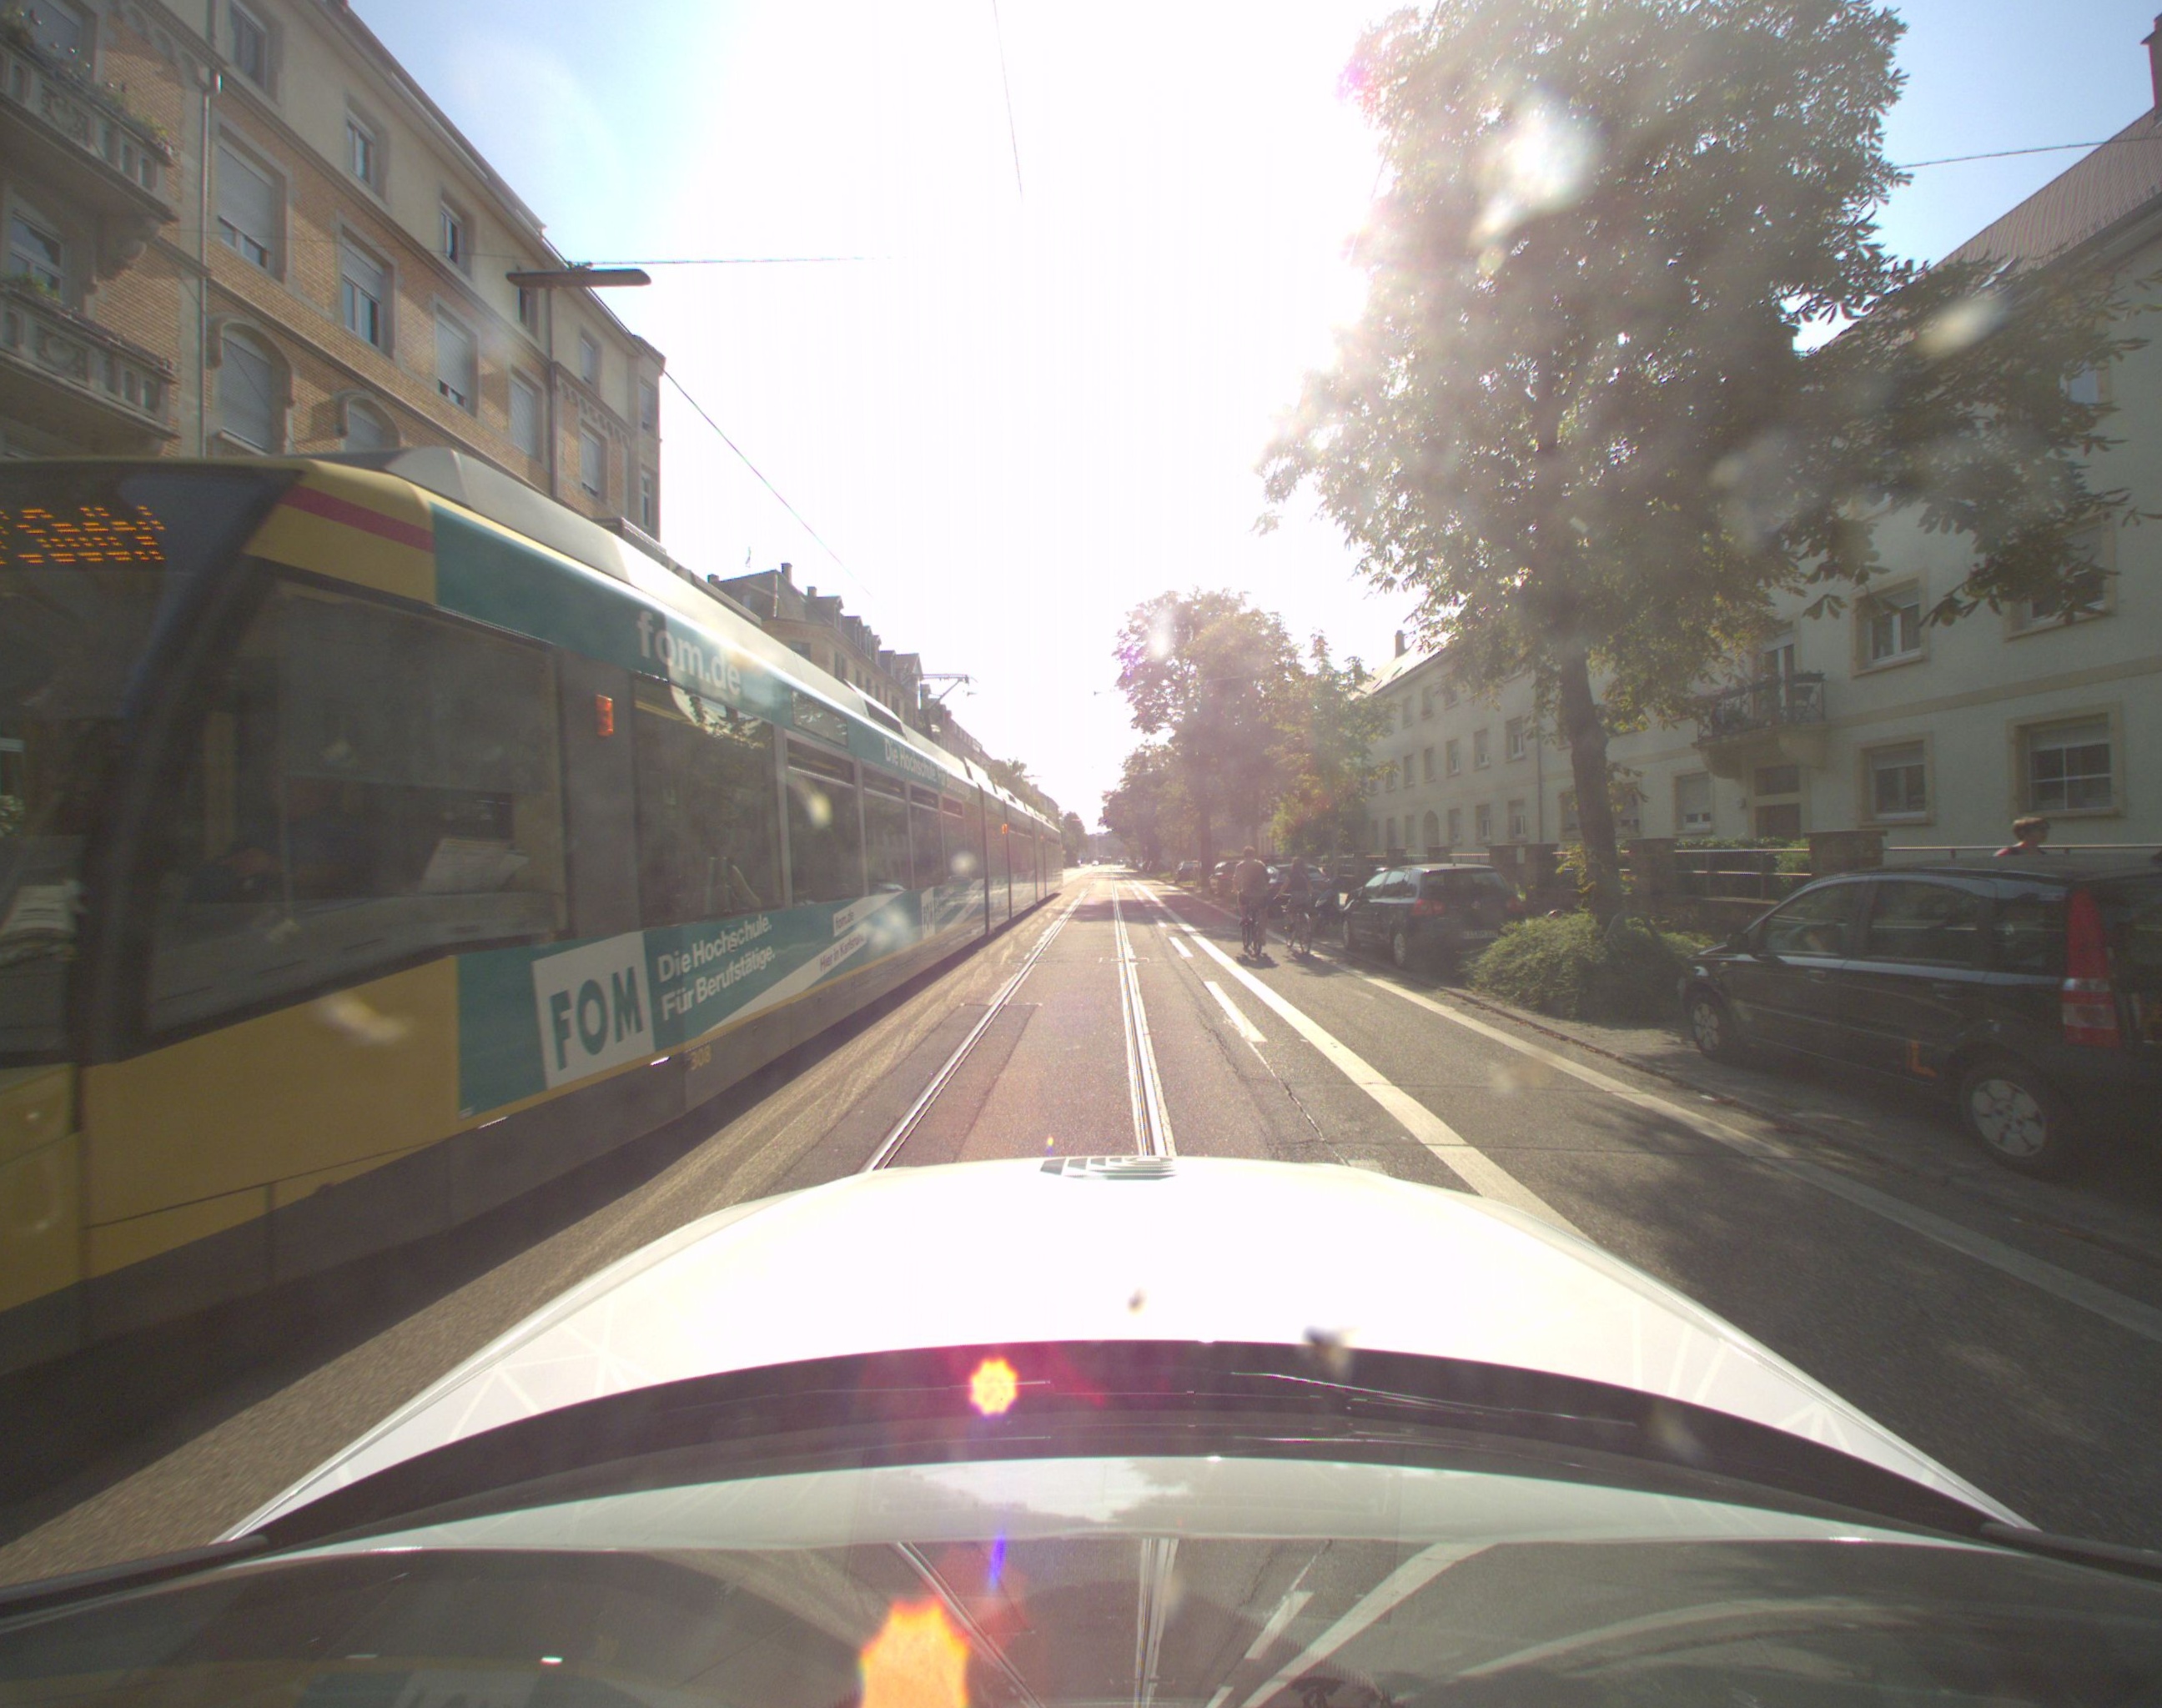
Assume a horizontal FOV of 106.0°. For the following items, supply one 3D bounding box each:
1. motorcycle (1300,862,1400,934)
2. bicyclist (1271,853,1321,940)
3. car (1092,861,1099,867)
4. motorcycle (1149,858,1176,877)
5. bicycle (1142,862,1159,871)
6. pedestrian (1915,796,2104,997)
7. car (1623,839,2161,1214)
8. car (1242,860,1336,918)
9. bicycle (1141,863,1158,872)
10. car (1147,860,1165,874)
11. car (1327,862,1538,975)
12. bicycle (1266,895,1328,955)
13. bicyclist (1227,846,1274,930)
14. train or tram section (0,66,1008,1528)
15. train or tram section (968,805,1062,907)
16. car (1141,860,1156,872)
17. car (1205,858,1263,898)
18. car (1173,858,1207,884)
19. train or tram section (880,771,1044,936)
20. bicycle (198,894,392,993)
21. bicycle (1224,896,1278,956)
[{"bbox_3d":[5.697,0.922,17.286,1.849,1.289,0.705,-4,4,-2],"label":"motorcycle"},{"bbox_3d":[3.795,0.736,14.422,0.652,1.474,0.909,1,-1,1],"label":"bicyclist"},{"bbox_3d":[4.222,2.908,237.299,1.720,1.638,3.986,-1,-1,2],"label":"car"},{"bbox_3d":[7.585,1.232,75.616,0.919,1.674,2.390,-2,0,-44],"label":"motorcycle"},{"bbox_3d":[8.935,1.616,104.274,2.103,1.105,0.562,-1,-1,-6],"label":"bicycle"},{"bbox_3d":[8.576,0.376,7.573,0.748,1.749,0.880,-1,-1,8],"label":"pedestrian"},{"bbox_3d":[5.444,0.728,5.269,1.636,1.540,3.850,-3,-1,7],"label":"car"},{"bbox_3d":[5.948,0.935,23.793,1.683,1.435,4.338,-4,0,1],"label":"car"},{"bbox_3d":[8.744,1.789,104.696,2.103,1.105,0.562,-1,-1,-6],"label":"bicycle"},{"bbox_3d":[8.403,1.440,91.435,1.720,1.504,3.986,-2,-1,2],"label":"car"},{"bbox_3d":[5.372,0.892,13.098,1.639,1.448,4.248,-3,-1,2],"label":"car"},{"bbox_3d":[3.797,1.232,14.429,0.652,0.909,1.775,1,-1,1],"label":"bicycle"},{"bbox_3d":[2.930,0.571,14.123,0.624,1.401,0.929,1,-1,1],"label":"bicyclist"},{"bbox_3d":[-3.119,-0.099,9.676,2.724,3.506,15.437,0,0,1],"label":"train or tram section"},{"bbox_3d":[-2.419,0.114,33.563,2.724,3.506,10.778,0,0,1],"label":"train or tram section"},{"bbox_3d":[9.022,1.593,108.457,1.765,1.473,3.976,-2,-1,2],"label":"car"},{"bbox_3d":[6.374,0.970,34.315,1.683,1.502,4.097,-3,-1,1],"label":"car"},{"bbox_3d":[7.034,1.102,52.977,1.737,1.561,4.721,-1,-1,2],"label":"car"},{"bbox_3d":[-2.781,0.022,22.780,2.724,3.506,10.778,0,0,1],"label":"train or tram section"},{"bbox_3d":[-10.119,1.106,10.599,0.604,1.058,1.841,3,0,4],"label":"bicycle"},{"bbox_3d":[2.919,1.216,14.104,0.624,0.909,1.525,1,-1,1],"label":"bicycle"}]
